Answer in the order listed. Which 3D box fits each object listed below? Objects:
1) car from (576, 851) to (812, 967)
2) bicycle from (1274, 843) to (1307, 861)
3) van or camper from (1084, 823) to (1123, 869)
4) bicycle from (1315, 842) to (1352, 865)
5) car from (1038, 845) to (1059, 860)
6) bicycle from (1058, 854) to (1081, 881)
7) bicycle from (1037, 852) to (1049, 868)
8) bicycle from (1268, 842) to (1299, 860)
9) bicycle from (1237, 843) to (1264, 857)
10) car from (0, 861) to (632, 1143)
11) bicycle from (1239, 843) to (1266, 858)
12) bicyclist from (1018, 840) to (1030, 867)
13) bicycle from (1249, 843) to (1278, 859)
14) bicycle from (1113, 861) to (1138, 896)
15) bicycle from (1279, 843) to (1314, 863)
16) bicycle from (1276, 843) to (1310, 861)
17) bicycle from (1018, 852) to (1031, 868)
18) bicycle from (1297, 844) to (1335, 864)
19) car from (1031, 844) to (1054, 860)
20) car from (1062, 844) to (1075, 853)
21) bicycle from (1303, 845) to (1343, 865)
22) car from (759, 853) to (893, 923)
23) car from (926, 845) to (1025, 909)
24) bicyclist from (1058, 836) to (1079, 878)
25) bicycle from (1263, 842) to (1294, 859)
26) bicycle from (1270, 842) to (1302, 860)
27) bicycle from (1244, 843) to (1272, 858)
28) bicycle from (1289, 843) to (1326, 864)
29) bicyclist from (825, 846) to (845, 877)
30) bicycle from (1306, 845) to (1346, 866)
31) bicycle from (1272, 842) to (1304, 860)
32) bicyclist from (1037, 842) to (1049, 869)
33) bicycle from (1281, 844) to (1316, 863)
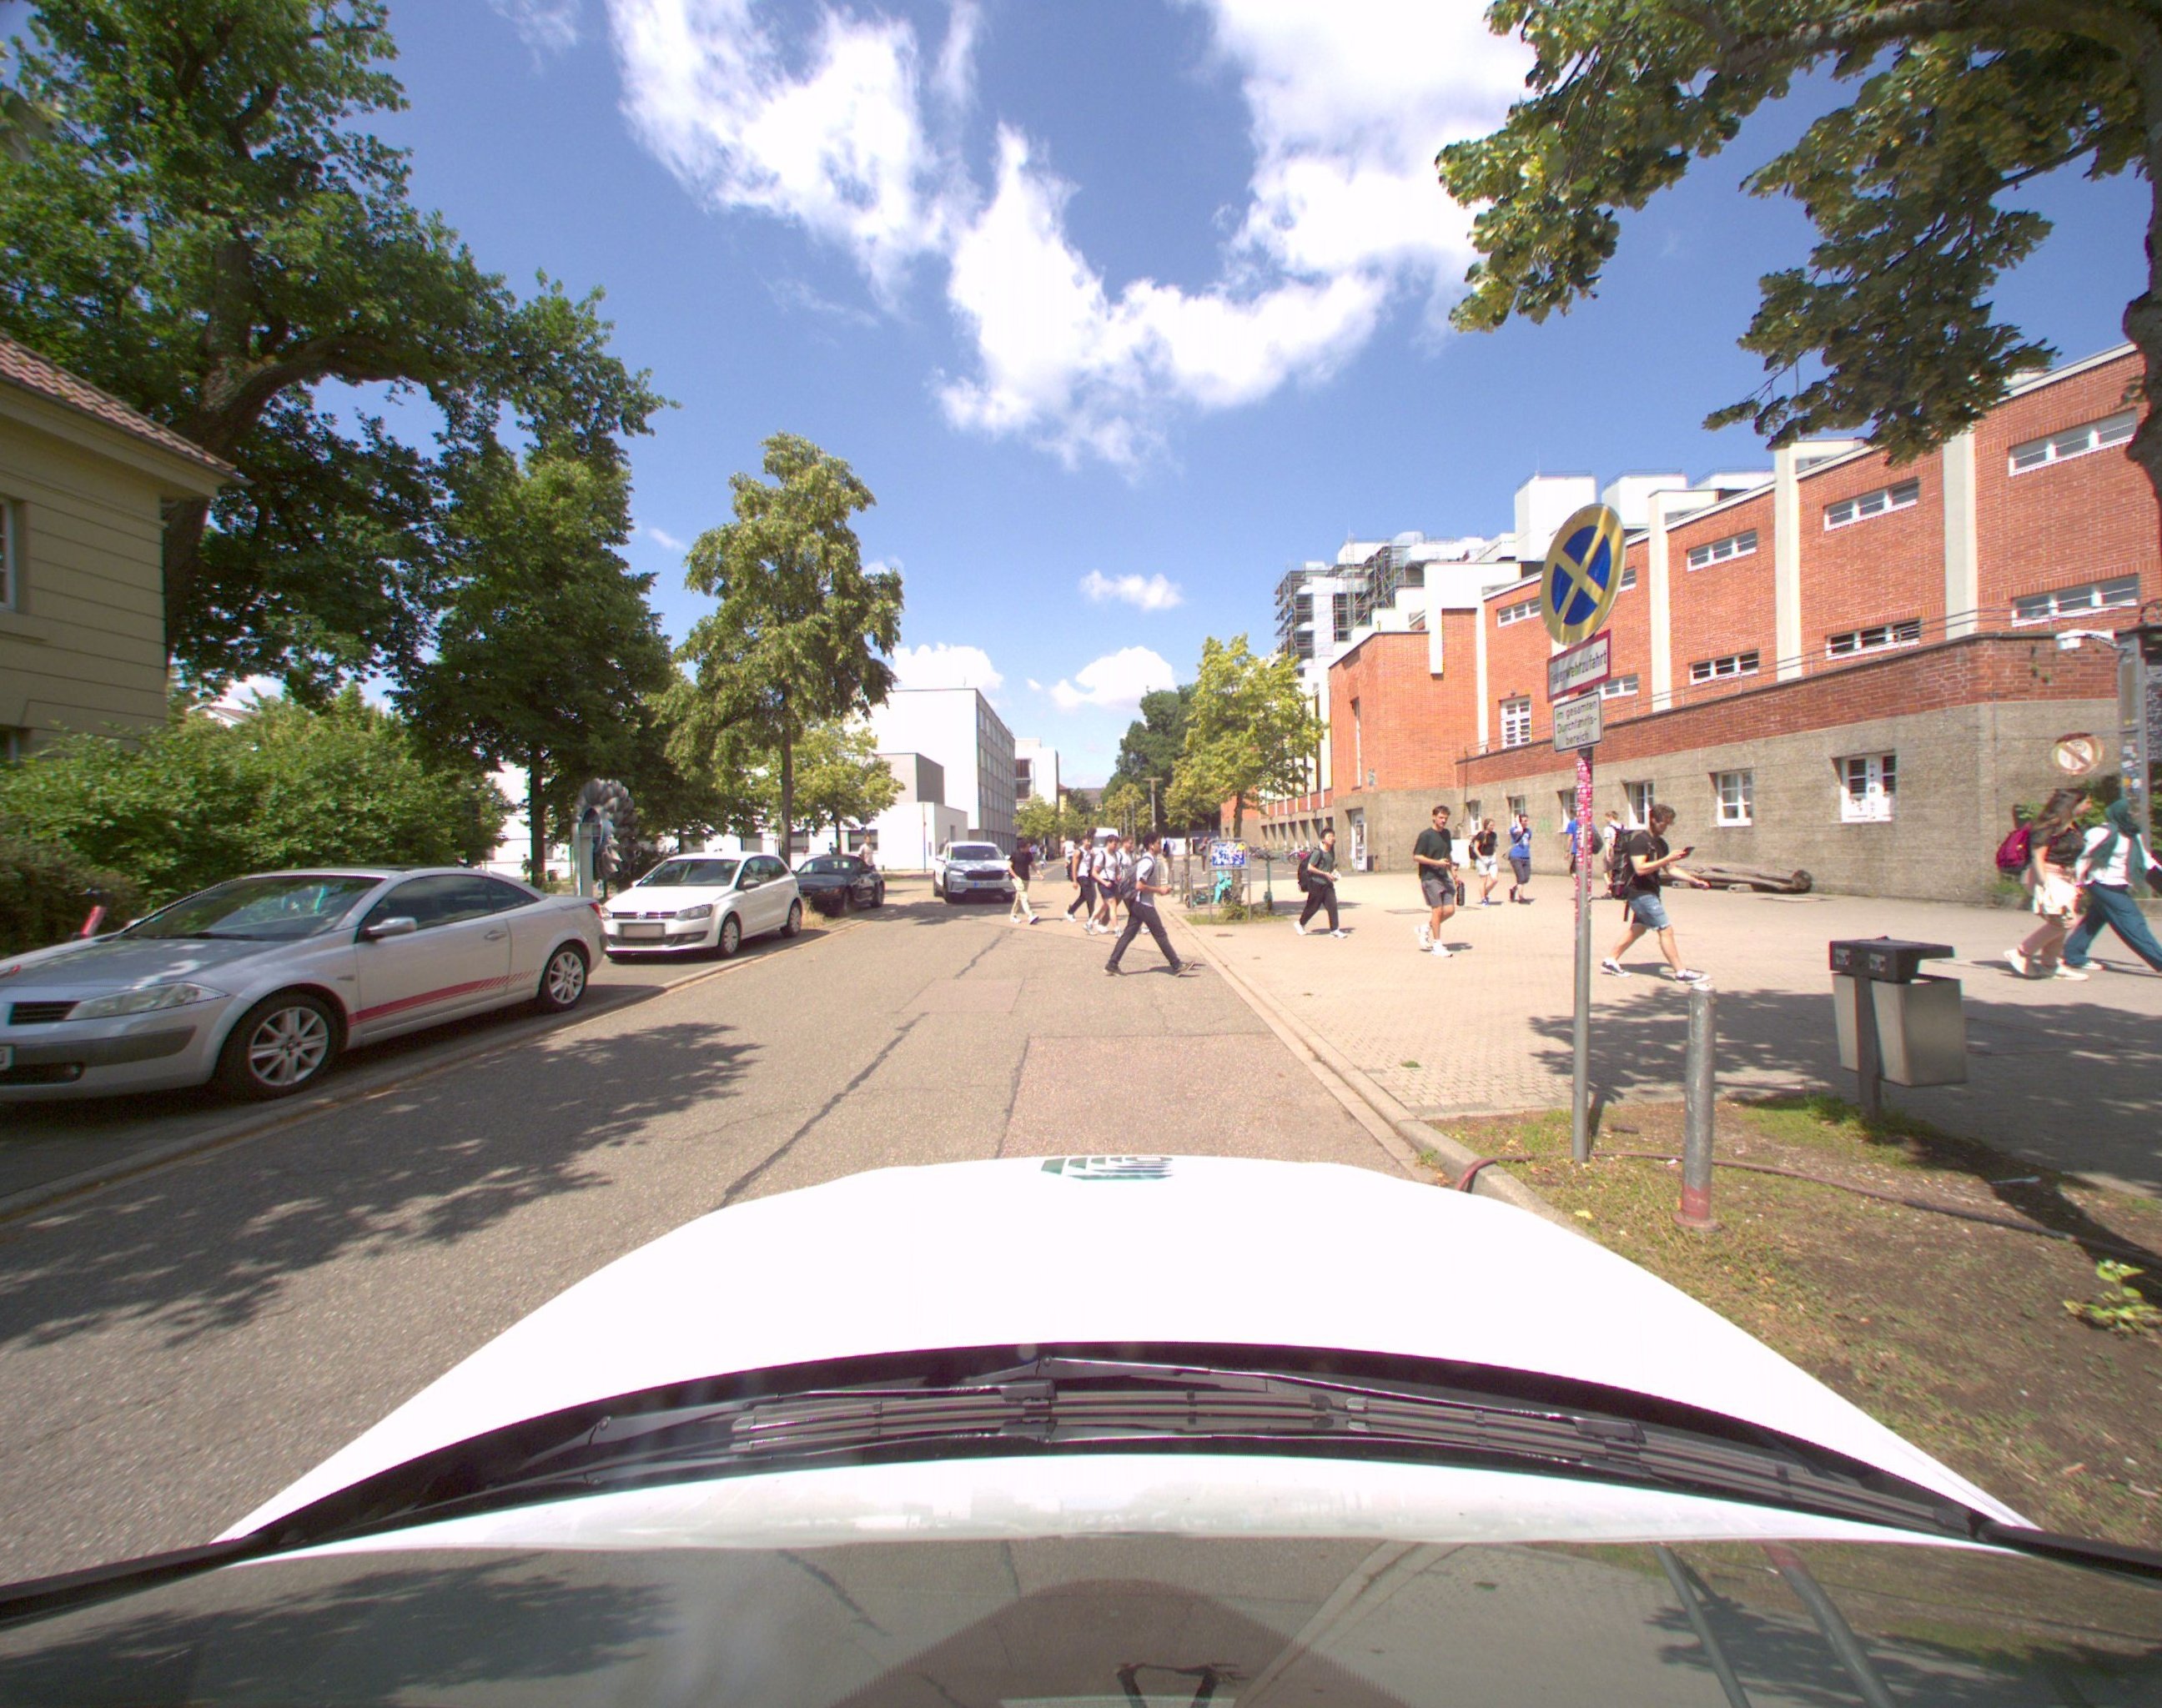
[{"bbox_3d":[-5.515,0.684,12.196,1.656,1.411,3.808,0,1,1],"label":"car"},{"bbox_3d":[12.599,-0.148,49.064,1.803,0.985,0.560,-3,0,0],"label":"bicycle"},{"bbox_3d":[1.352,-0.436,47.378,1.985,2.445,4.574,-2,0,4],"label":"van or camper"},{"bbox_3d":[11.893,-0.032,38.357,1.530,1.033,0.560,-3,0,0],"label":"bicycle"},{"bbox_3d":[-3.631,-0.197,91.355,1.787,1.530,4.006,-2,1,5],"label":"car"},{"bbox_3d":[-0.510,0.561,34.989,0.807,1.002,2.120,-3,3,-5],"label":"bicycle"},{"bbox_3d":[-2.446,0.383,51.984,0.675,0.965,2.002,0,-2,0],"label":"bicycle"},{"bbox_3d":[12.656,-0.193,50.888,1.803,0.985,0.560,-3,0,0],"label":"bicycle"},{"bbox_3d":[12.546,-0.299,60.213,1.803,0.985,0.560,-3,0,0],"label":"bicycle"},{"bbox_3d":[-5.552,0.779,6.270,1.718,1.343,4.168,0,1,2],"label":"car"},{"bbox_3d":[12.457,-0.272,59.251,1.803,0.985,0.560,-3,0,0],"label":"bicycle"},{"bbox_3d":[-3.540,-0.037,50.710,0.641,1.601,0.909,-3,0,-1],"label":"bicyclist"},{"bbox_3d":[12.425,-0.236,55.379,1.803,0.985,0.560,-3,0,0],"label":"bicycle"},{"bbox_3d":[1.394,0.741,25.334,0.703,0.993,1.913,-2,0,5],"label":"bicycle"},{"bbox_3d":[12.214,-0.059,46.274,1.803,0.985,0.560,-3,0,0],"label":"bicycle"},{"bbox_3d":[12.623,-0.140,48.462,1.803,0.985,0.560,-3,0,0],"label":"bicycle"},{"bbox_3d":[-3.513,0.379,50.617,0.675,0.965,2.002,-1,1,-1],"label":"bicycle"},{"bbox_3d":[12.278,-0.018,42.550,1.803,0.912,0.560,-3,0,0],"label":"bicycle"},{"bbox_3d":[-3.930,-0.187,83.942,1.787,1.530,4.006,-2,1,5],"label":"car"},{"bbox_3d":[-2.271,-1.060,150.179,1.787,1.530,4.006,-2,1,5],"label":"car"},{"bbox_3d":[12.218,0.047,41.145,1.803,0.912,0.560,-3,0,0],"label":"bicycle"},{"bbox_3d":[-5.650,0.690,18.545,1.639,1.300,3.930,-2,1,2],"label":"car"},{"bbox_3d":[-3.080,0.588,22.904,1.923,1.619,4.492,1,0,-18],"label":"car"},{"bbox_3d":[-0.534,0.123,34.968,0.770,1.756,0.847,-2,1,-6],"label":"bicyclist"},{"bbox_3d":[12.810,-0.213,52.839,1.803,0.985,0.560,-3,0,0],"label":"bicycle"},{"bbox_3d":[12.652,-0.177,50.293,1.803,0.985,0.560,-3,0,0],"label":"bicycle"},{"bbox_3d":[12.347,-0.235,56.914,1.803,0.985,0.560,-3,0,0],"label":"bicycle"},{"bbox_3d":[12.332,-0.033,44.313,1.803,0.985,0.560,-3,0,0],"label":"bicycle"},{"bbox_3d":[-14.081,0.402,46.588,0.684,1.756,0.816,-1,0,42],"label":"bicyclist"},{"bbox_3d":[12.126,0.068,40.290,1.803,0.912,0.560,-3,0,0],"label":"bicycle"},{"bbox_3d":[12.625,-0.161,49.652,1.803,0.985,0.560,-3,0,0],"label":"bicycle"},{"bbox_3d":[-2.439,0.068,52.190,0.665,1.681,0.992,-3,0,-1],"label":"bicyclist"},{"bbox_3d":[12.175,-0.032,45.639,1.803,0.985,0.560,-3,0,0],"label":"bicycle"}]
